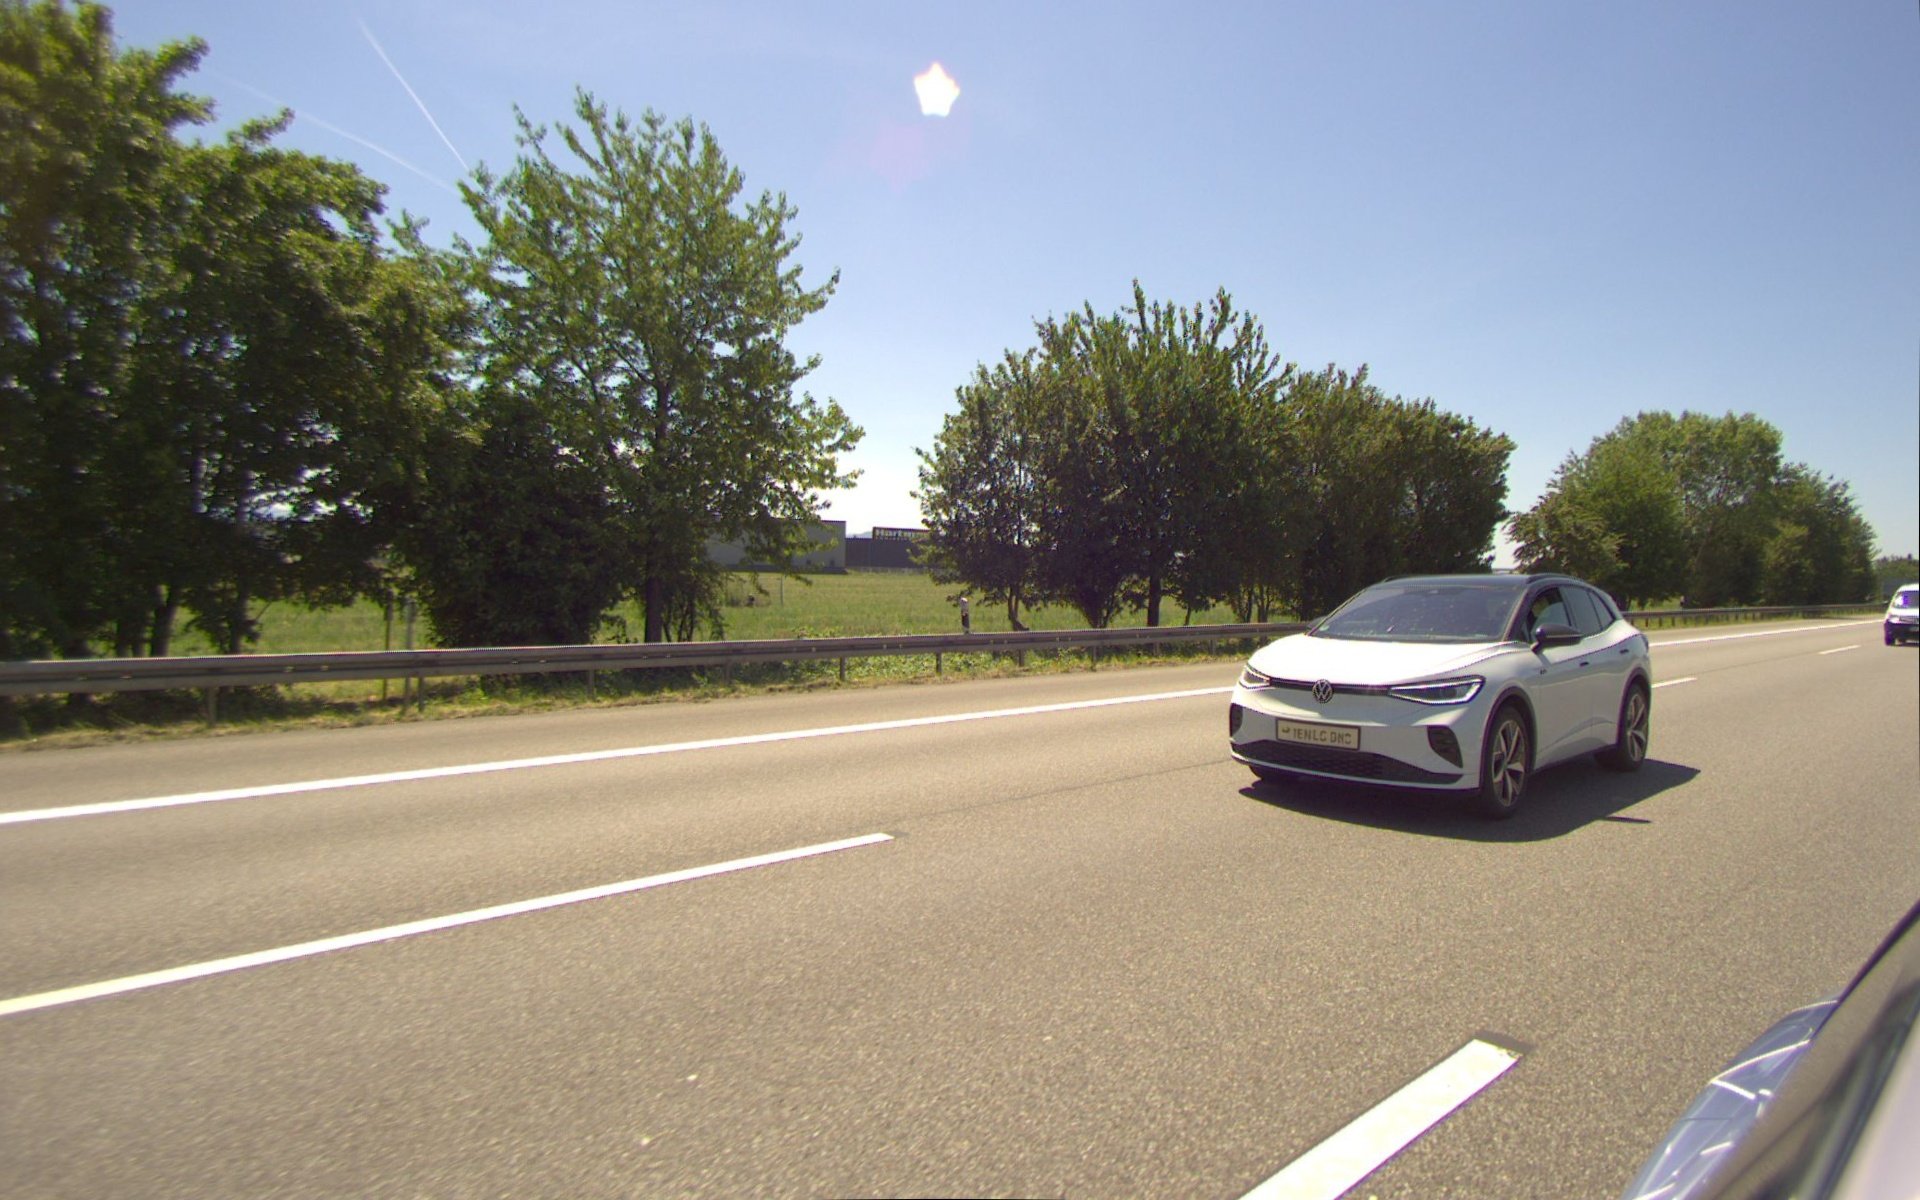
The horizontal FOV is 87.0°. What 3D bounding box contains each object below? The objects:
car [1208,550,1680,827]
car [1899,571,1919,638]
[{"bbox_3d":[4.002,0.505,8.021,4.303,1.623,1.805,0,0,-41],"label":"car"},{"bbox_3d":[29.125,0.118,29.787,4.622,1.886,1.855,0,0,-43],"label":"car"}]
